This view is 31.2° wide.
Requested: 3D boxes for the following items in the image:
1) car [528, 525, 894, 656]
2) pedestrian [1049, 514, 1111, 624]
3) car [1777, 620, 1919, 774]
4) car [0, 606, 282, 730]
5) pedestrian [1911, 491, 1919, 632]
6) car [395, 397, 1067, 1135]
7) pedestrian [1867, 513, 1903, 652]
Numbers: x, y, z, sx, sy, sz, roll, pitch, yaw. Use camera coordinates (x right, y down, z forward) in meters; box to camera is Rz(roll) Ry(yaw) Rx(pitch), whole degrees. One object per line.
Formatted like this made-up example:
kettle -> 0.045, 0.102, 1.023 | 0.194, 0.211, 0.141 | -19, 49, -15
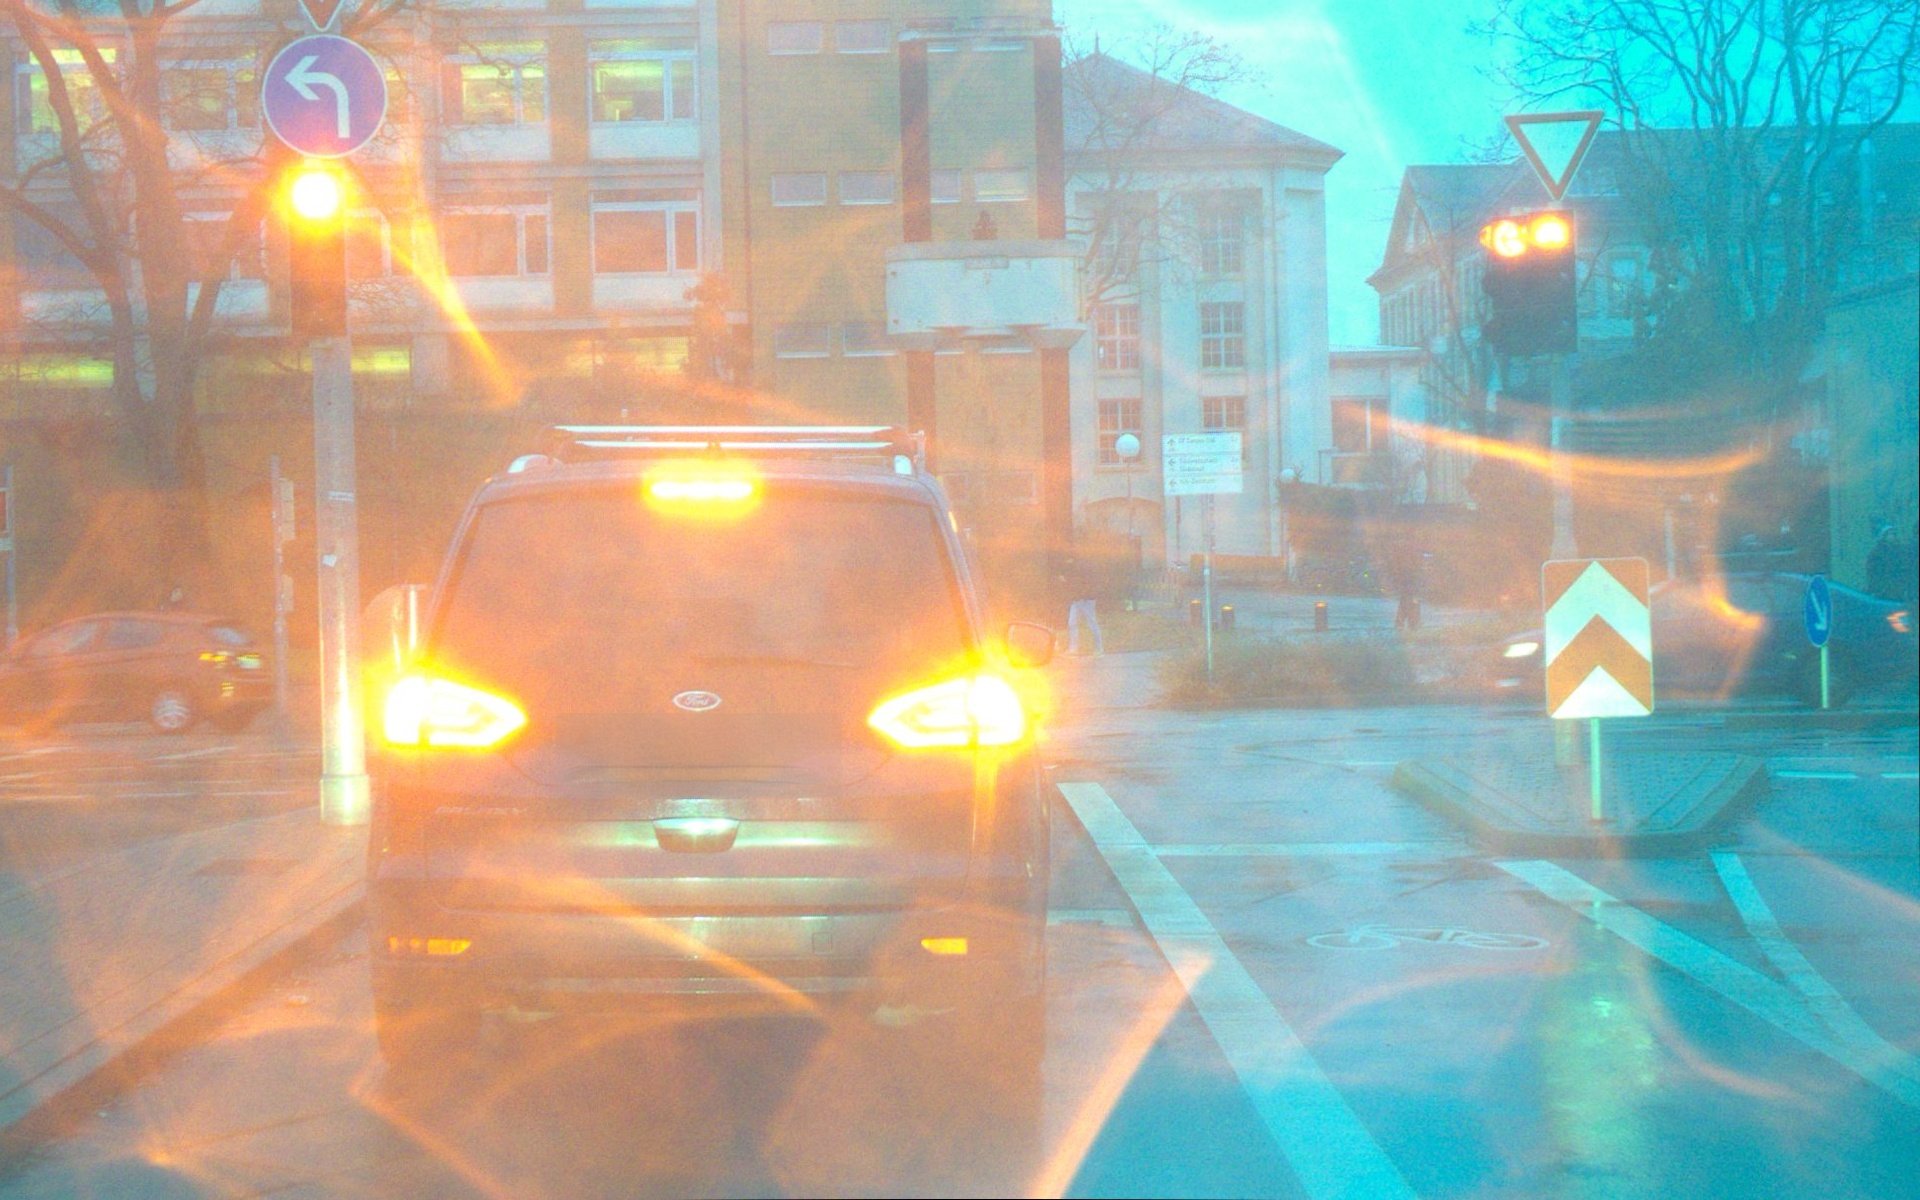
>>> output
car -> -3.927, -0.139, 54.793 | 5.548, 2.017, 1.999 | 0, -1, 5
pedestrian -> 1.820, -0.465, 52.116 | 0.684, 1.655, 0.677 | 1, -1, -27
car -> 10.825, 1.012, 35.920 | 4.435, 1.575, 1.967 | 0, -1, 13
car -> -10.029, 0.785, 40.245 | 3.791, 1.393, 1.564 | 0, -1, 12
pedestrian -> 12.615, -0.495, 44.741 | 0.458, 1.832, 0.438 | 0, -1, 17
car -> -0.592, 0.366, 10.470 | 1.647, 1.812, 4.000 | 0, 1, -1
pedestrian -> 12.316, -0.227, 45.761 | 0.438, 1.832, 0.459 | 0, -1, 17
